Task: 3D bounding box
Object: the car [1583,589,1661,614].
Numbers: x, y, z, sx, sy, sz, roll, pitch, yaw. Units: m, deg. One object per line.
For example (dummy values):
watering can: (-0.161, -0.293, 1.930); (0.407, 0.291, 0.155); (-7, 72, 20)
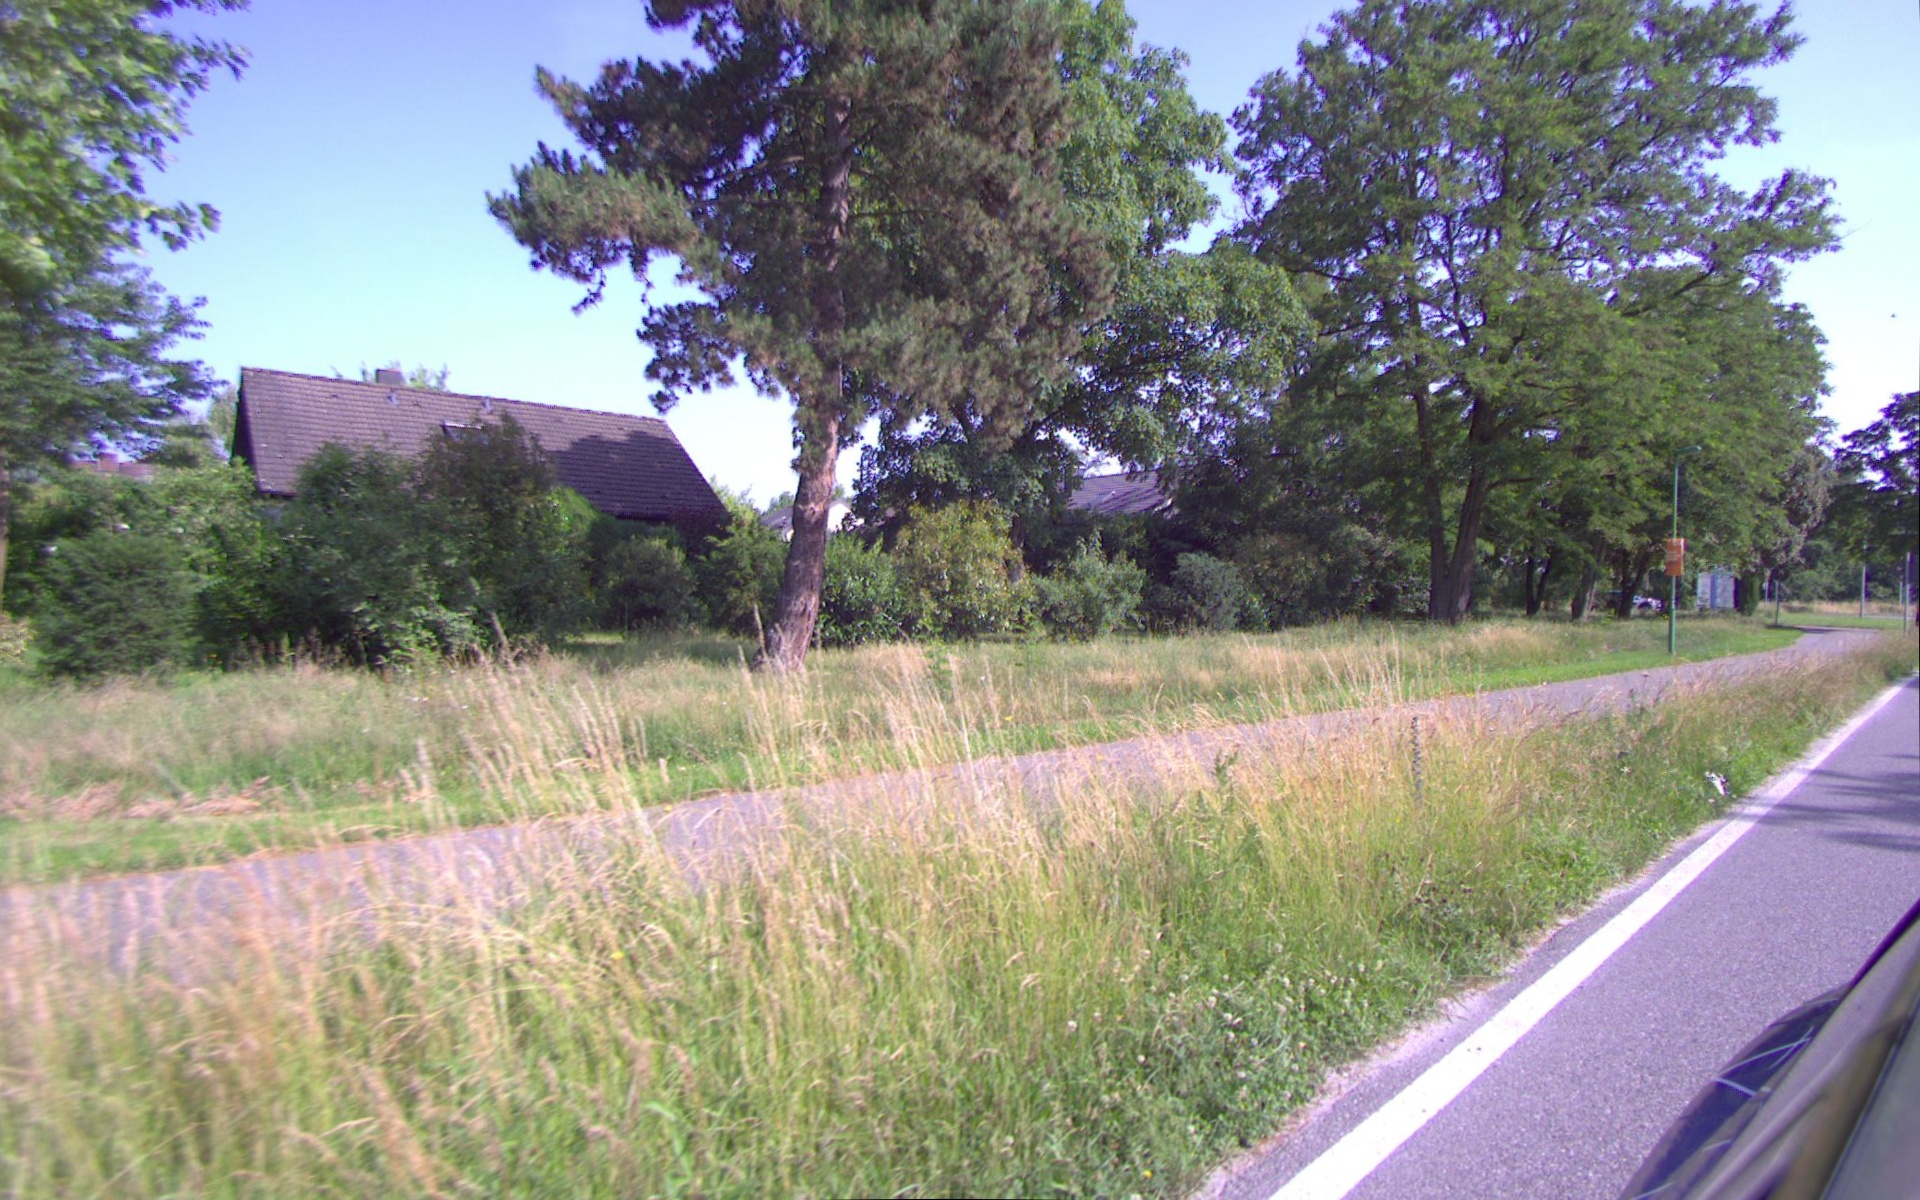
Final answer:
car: (43.271, 0.086, 66.177); (4.115, 1.569, 1.877); (1, 1, 39)
